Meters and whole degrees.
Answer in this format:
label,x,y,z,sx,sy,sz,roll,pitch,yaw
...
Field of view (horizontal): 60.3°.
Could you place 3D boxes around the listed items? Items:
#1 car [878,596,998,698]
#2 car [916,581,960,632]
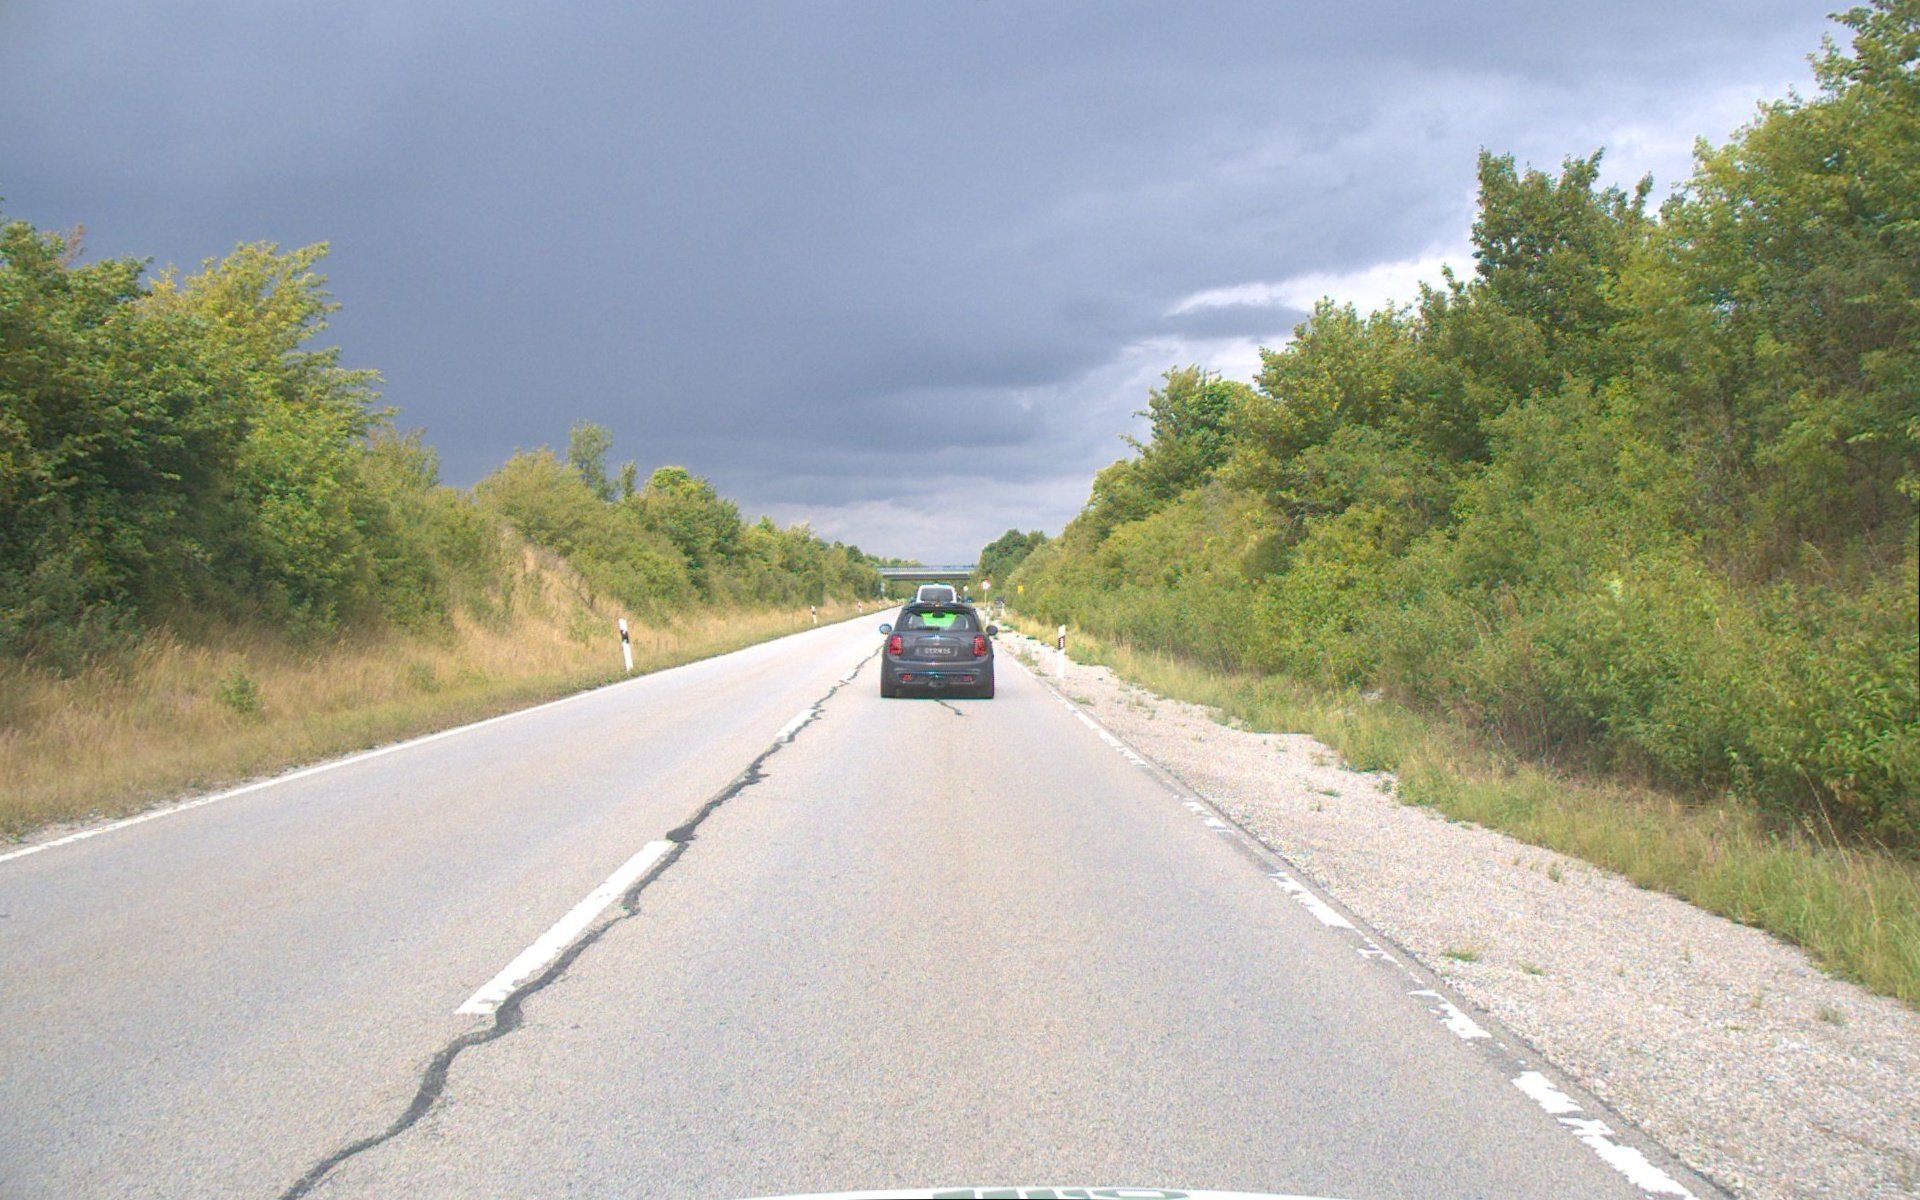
label,x,y,z,sx,sy,sz,roll,pitch,yaw
car,-0.354,0.683,26.014,1.721,1.452,3.999,1,0,-1
car,-0.951,0.272,70.874,1.782,2.090,3.999,1,0,-1
